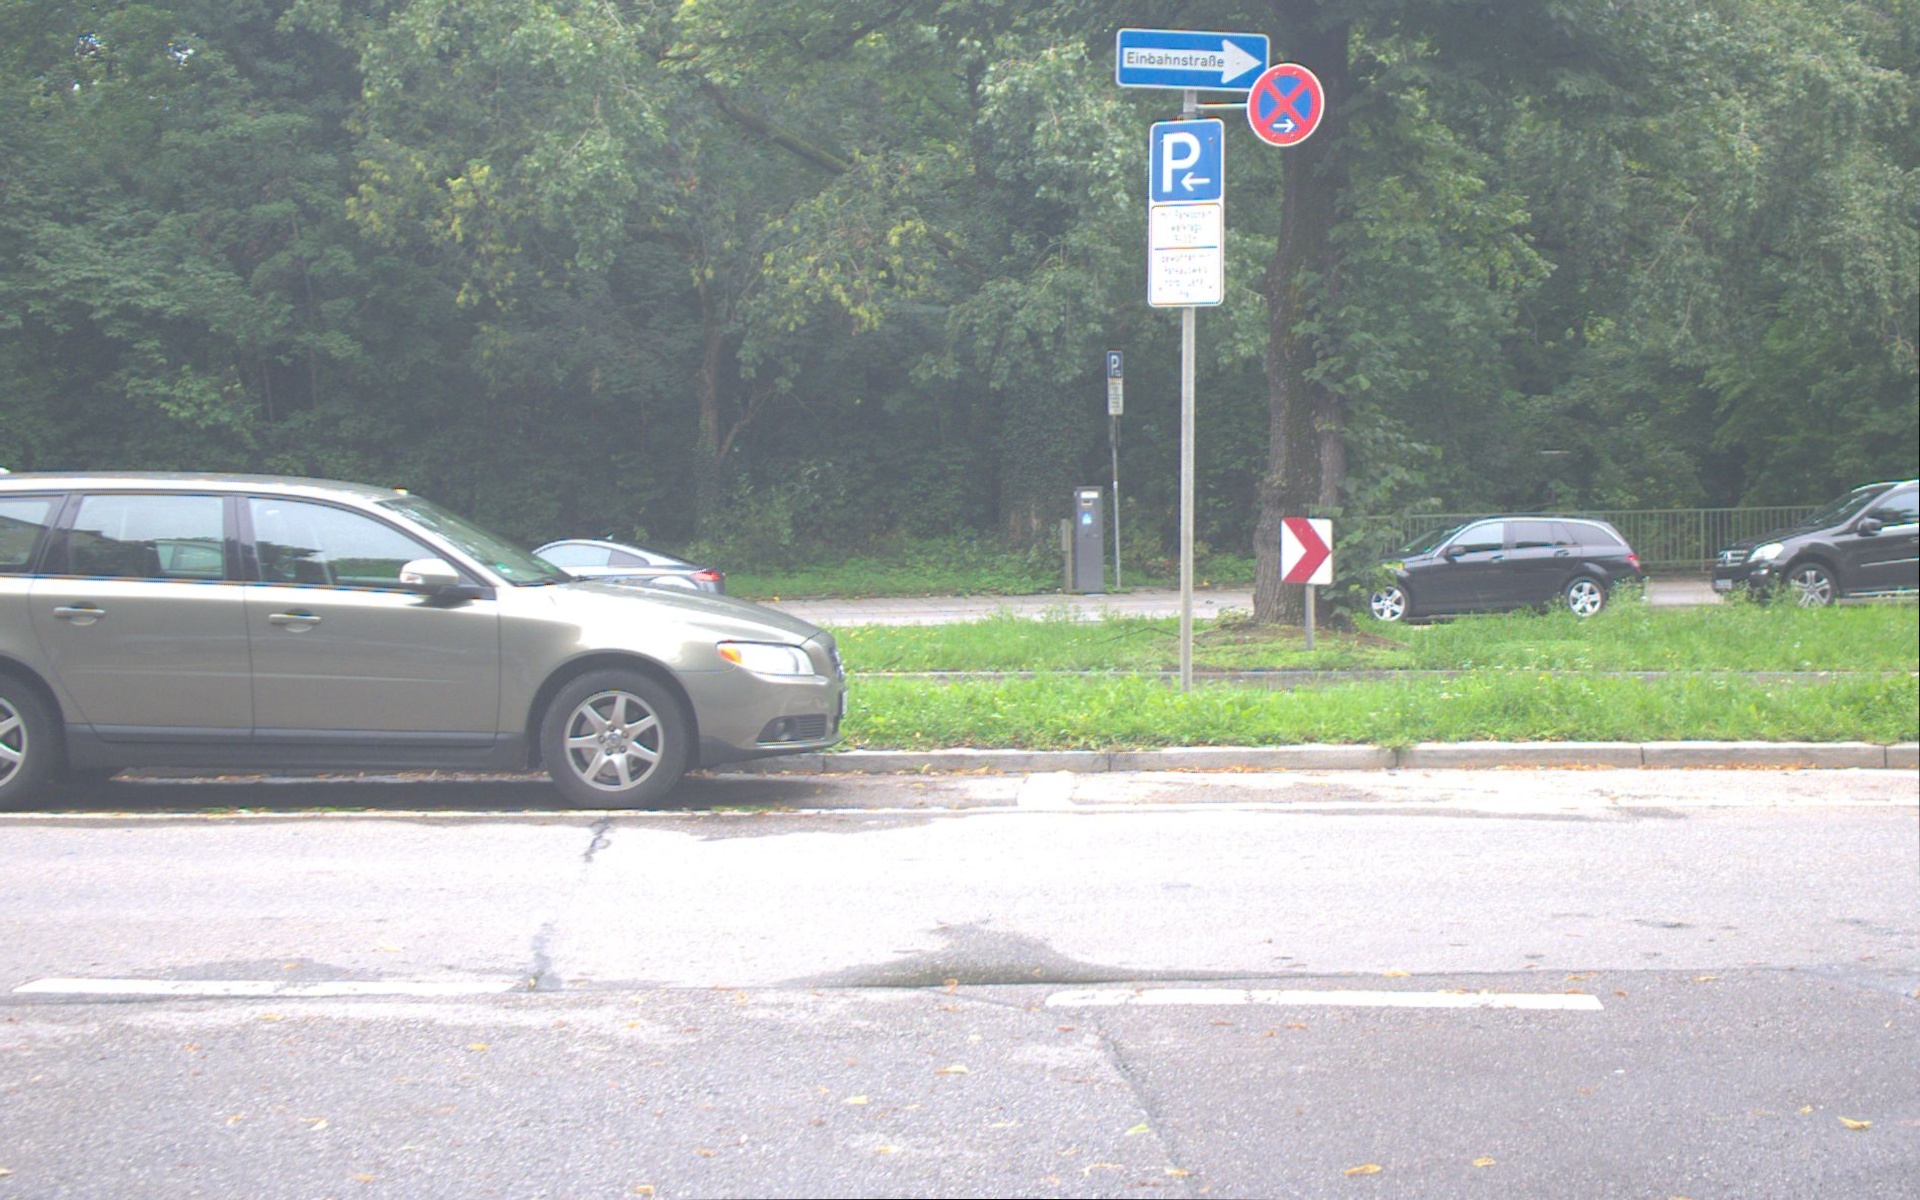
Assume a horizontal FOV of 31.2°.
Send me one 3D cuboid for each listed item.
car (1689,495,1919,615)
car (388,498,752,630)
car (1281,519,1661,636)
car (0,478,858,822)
[{"bbox_3d":[12.661,-0.642,46.640,5.028,1.560,2.001,-1,1,-13],"label":"car"},{"bbox_3d":[-4.892,-0.467,43.209,4.433,1.573,1.932,-1,1,-7],"label":"car"},{"bbox_3d":[6.753,-0.316,45.574,4.580,1.466,1.932,-1,1,-13],"label":"car"},{"bbox_3d":[-2.917,0.192,15.982,4.801,1.490,1.842,0,1,1],"label":"car"}]
